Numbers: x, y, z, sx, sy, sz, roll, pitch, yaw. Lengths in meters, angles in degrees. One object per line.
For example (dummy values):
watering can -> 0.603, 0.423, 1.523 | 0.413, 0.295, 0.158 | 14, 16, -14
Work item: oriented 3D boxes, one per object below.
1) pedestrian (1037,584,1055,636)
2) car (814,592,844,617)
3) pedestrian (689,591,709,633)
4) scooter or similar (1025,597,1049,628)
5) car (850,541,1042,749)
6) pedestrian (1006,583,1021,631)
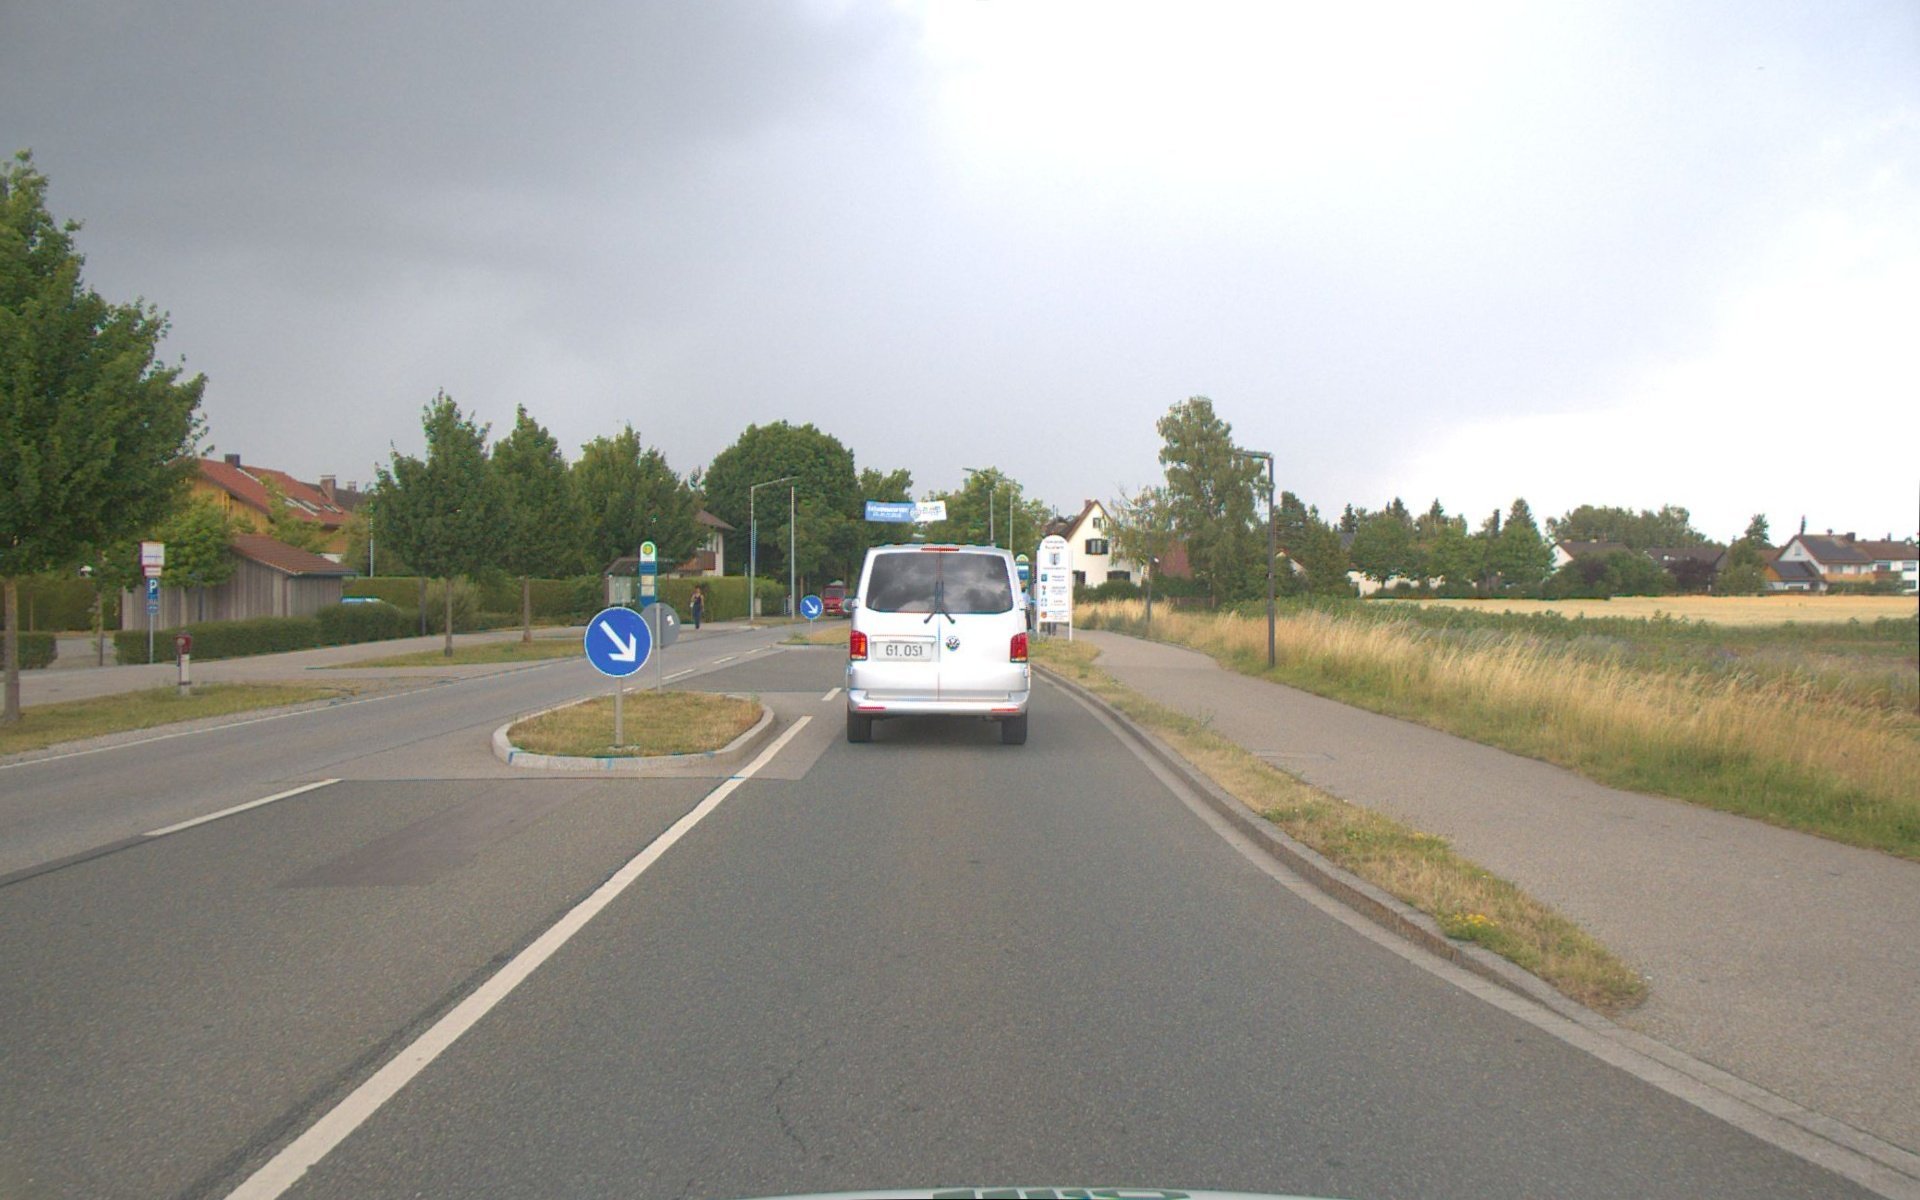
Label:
pedestrian -> 2.967, 0.340, 56.903 | 0.476, 1.762, 0.641 | -2, 0, -6
car -> -8.182, 0.245, 103.776 | 1.620, 1.454, 3.602 | -2, 1, -1
pedestrian -> -9.875, 0.442, 62.649 | 0.611, 1.551, 0.679 | -2, 0, -1
scooter or similar -> 2.882, 0.478, 62.171 | 0.831, 1.123, 1.094 | -2, 1, 0
car -> -0.202, 0.403, 17.658 | 1.789, 1.947, 3.998 | 1, 1, -2
pedestrian -> 1.988, 0.249, 61.687 | 0.475, 1.762, 0.642 | -2, 0, -1
